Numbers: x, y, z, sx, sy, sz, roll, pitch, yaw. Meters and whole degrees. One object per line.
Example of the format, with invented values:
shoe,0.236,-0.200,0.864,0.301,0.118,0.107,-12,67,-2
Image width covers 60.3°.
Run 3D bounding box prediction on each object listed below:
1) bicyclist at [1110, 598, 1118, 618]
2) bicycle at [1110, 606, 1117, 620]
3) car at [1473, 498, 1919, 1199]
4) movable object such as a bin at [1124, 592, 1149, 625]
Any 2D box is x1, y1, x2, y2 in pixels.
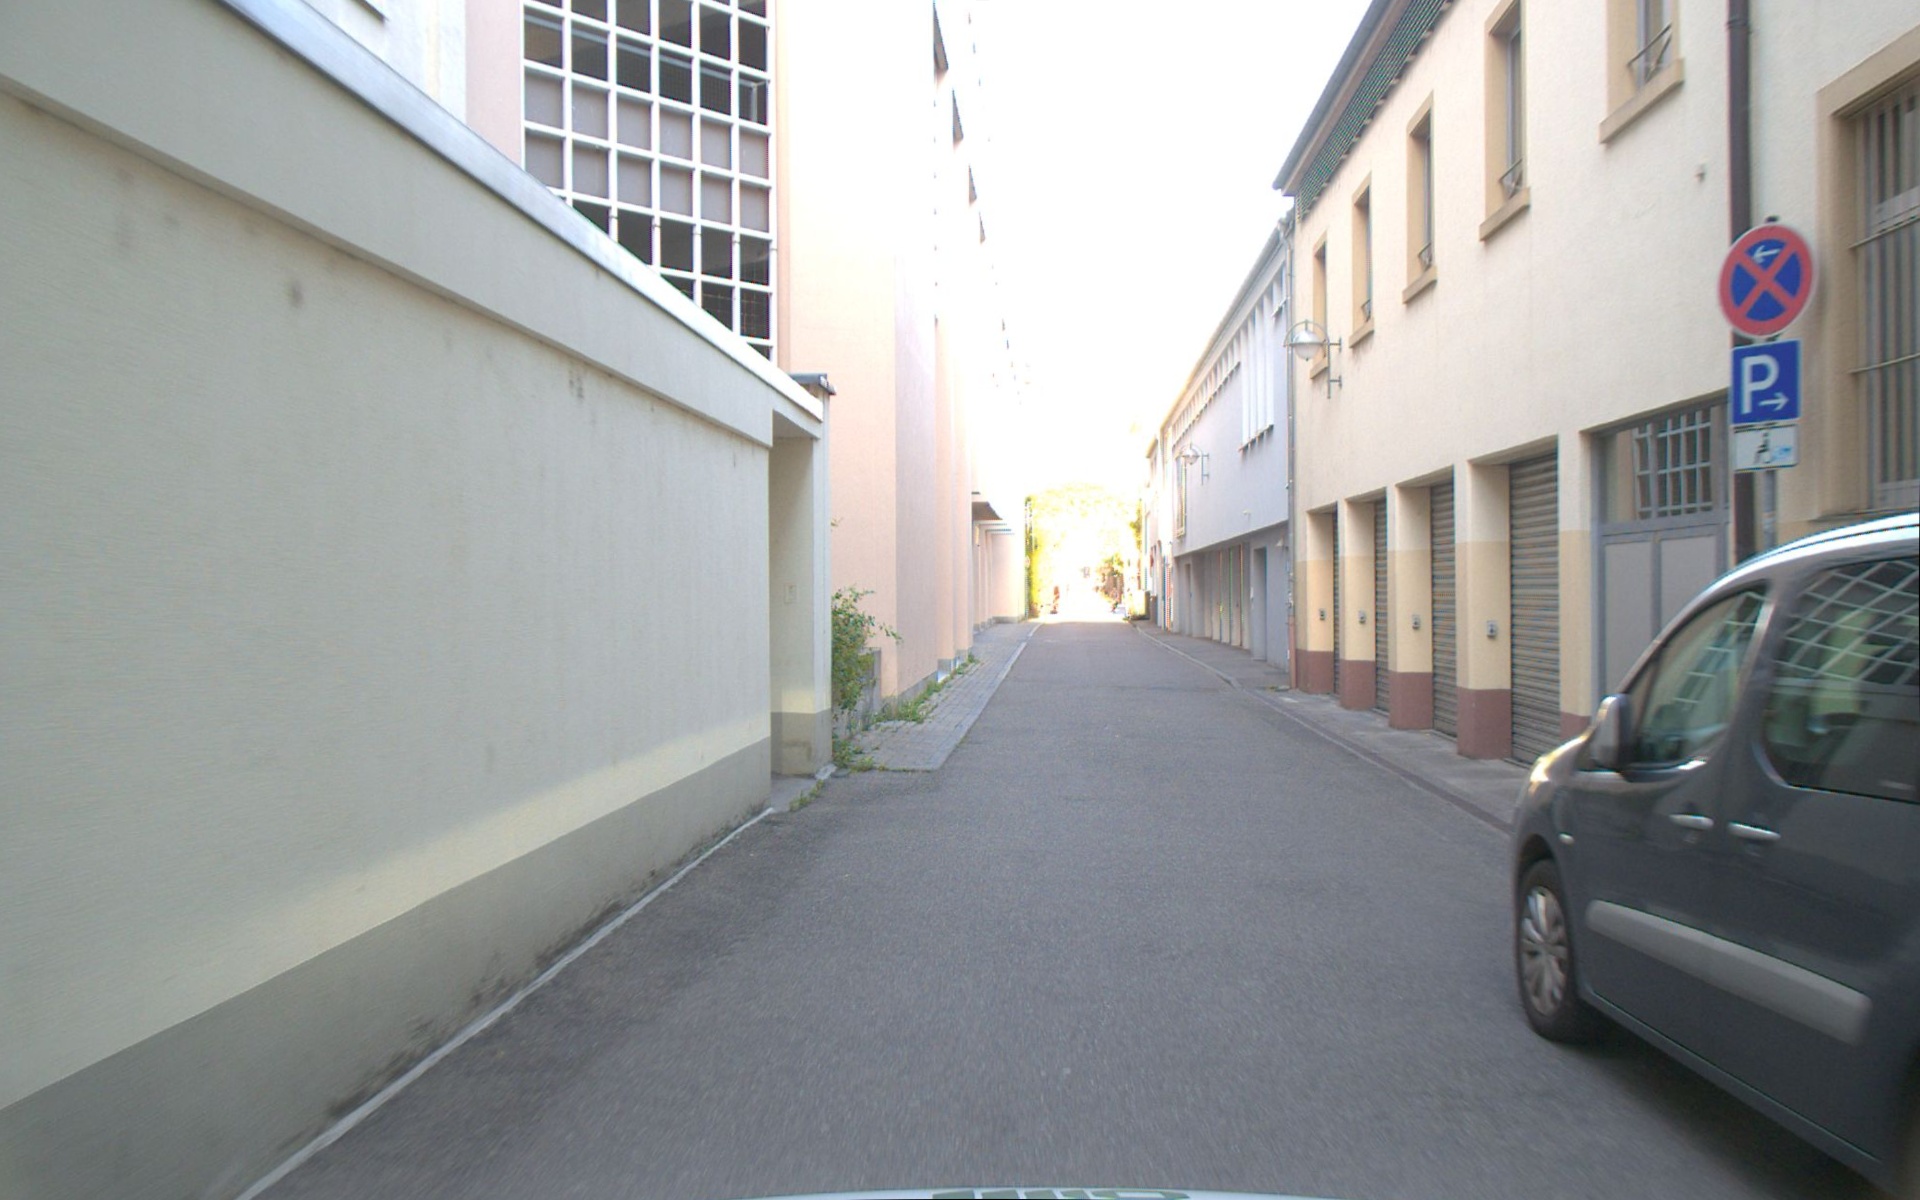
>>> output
bicyclist,10.575,0.546,113.755,0.501,1.346,0.559,1,0,6
bicycle,10.566,0.886,113.696,0.433,0.931,1.517,1,0,7
car,2.941,0.672,4.498,1.817,1.786,4.162,0,0,0
movable object such as a bin,8.184,0.374,76.713,1.083,1.461,1.415,-1,2,4
